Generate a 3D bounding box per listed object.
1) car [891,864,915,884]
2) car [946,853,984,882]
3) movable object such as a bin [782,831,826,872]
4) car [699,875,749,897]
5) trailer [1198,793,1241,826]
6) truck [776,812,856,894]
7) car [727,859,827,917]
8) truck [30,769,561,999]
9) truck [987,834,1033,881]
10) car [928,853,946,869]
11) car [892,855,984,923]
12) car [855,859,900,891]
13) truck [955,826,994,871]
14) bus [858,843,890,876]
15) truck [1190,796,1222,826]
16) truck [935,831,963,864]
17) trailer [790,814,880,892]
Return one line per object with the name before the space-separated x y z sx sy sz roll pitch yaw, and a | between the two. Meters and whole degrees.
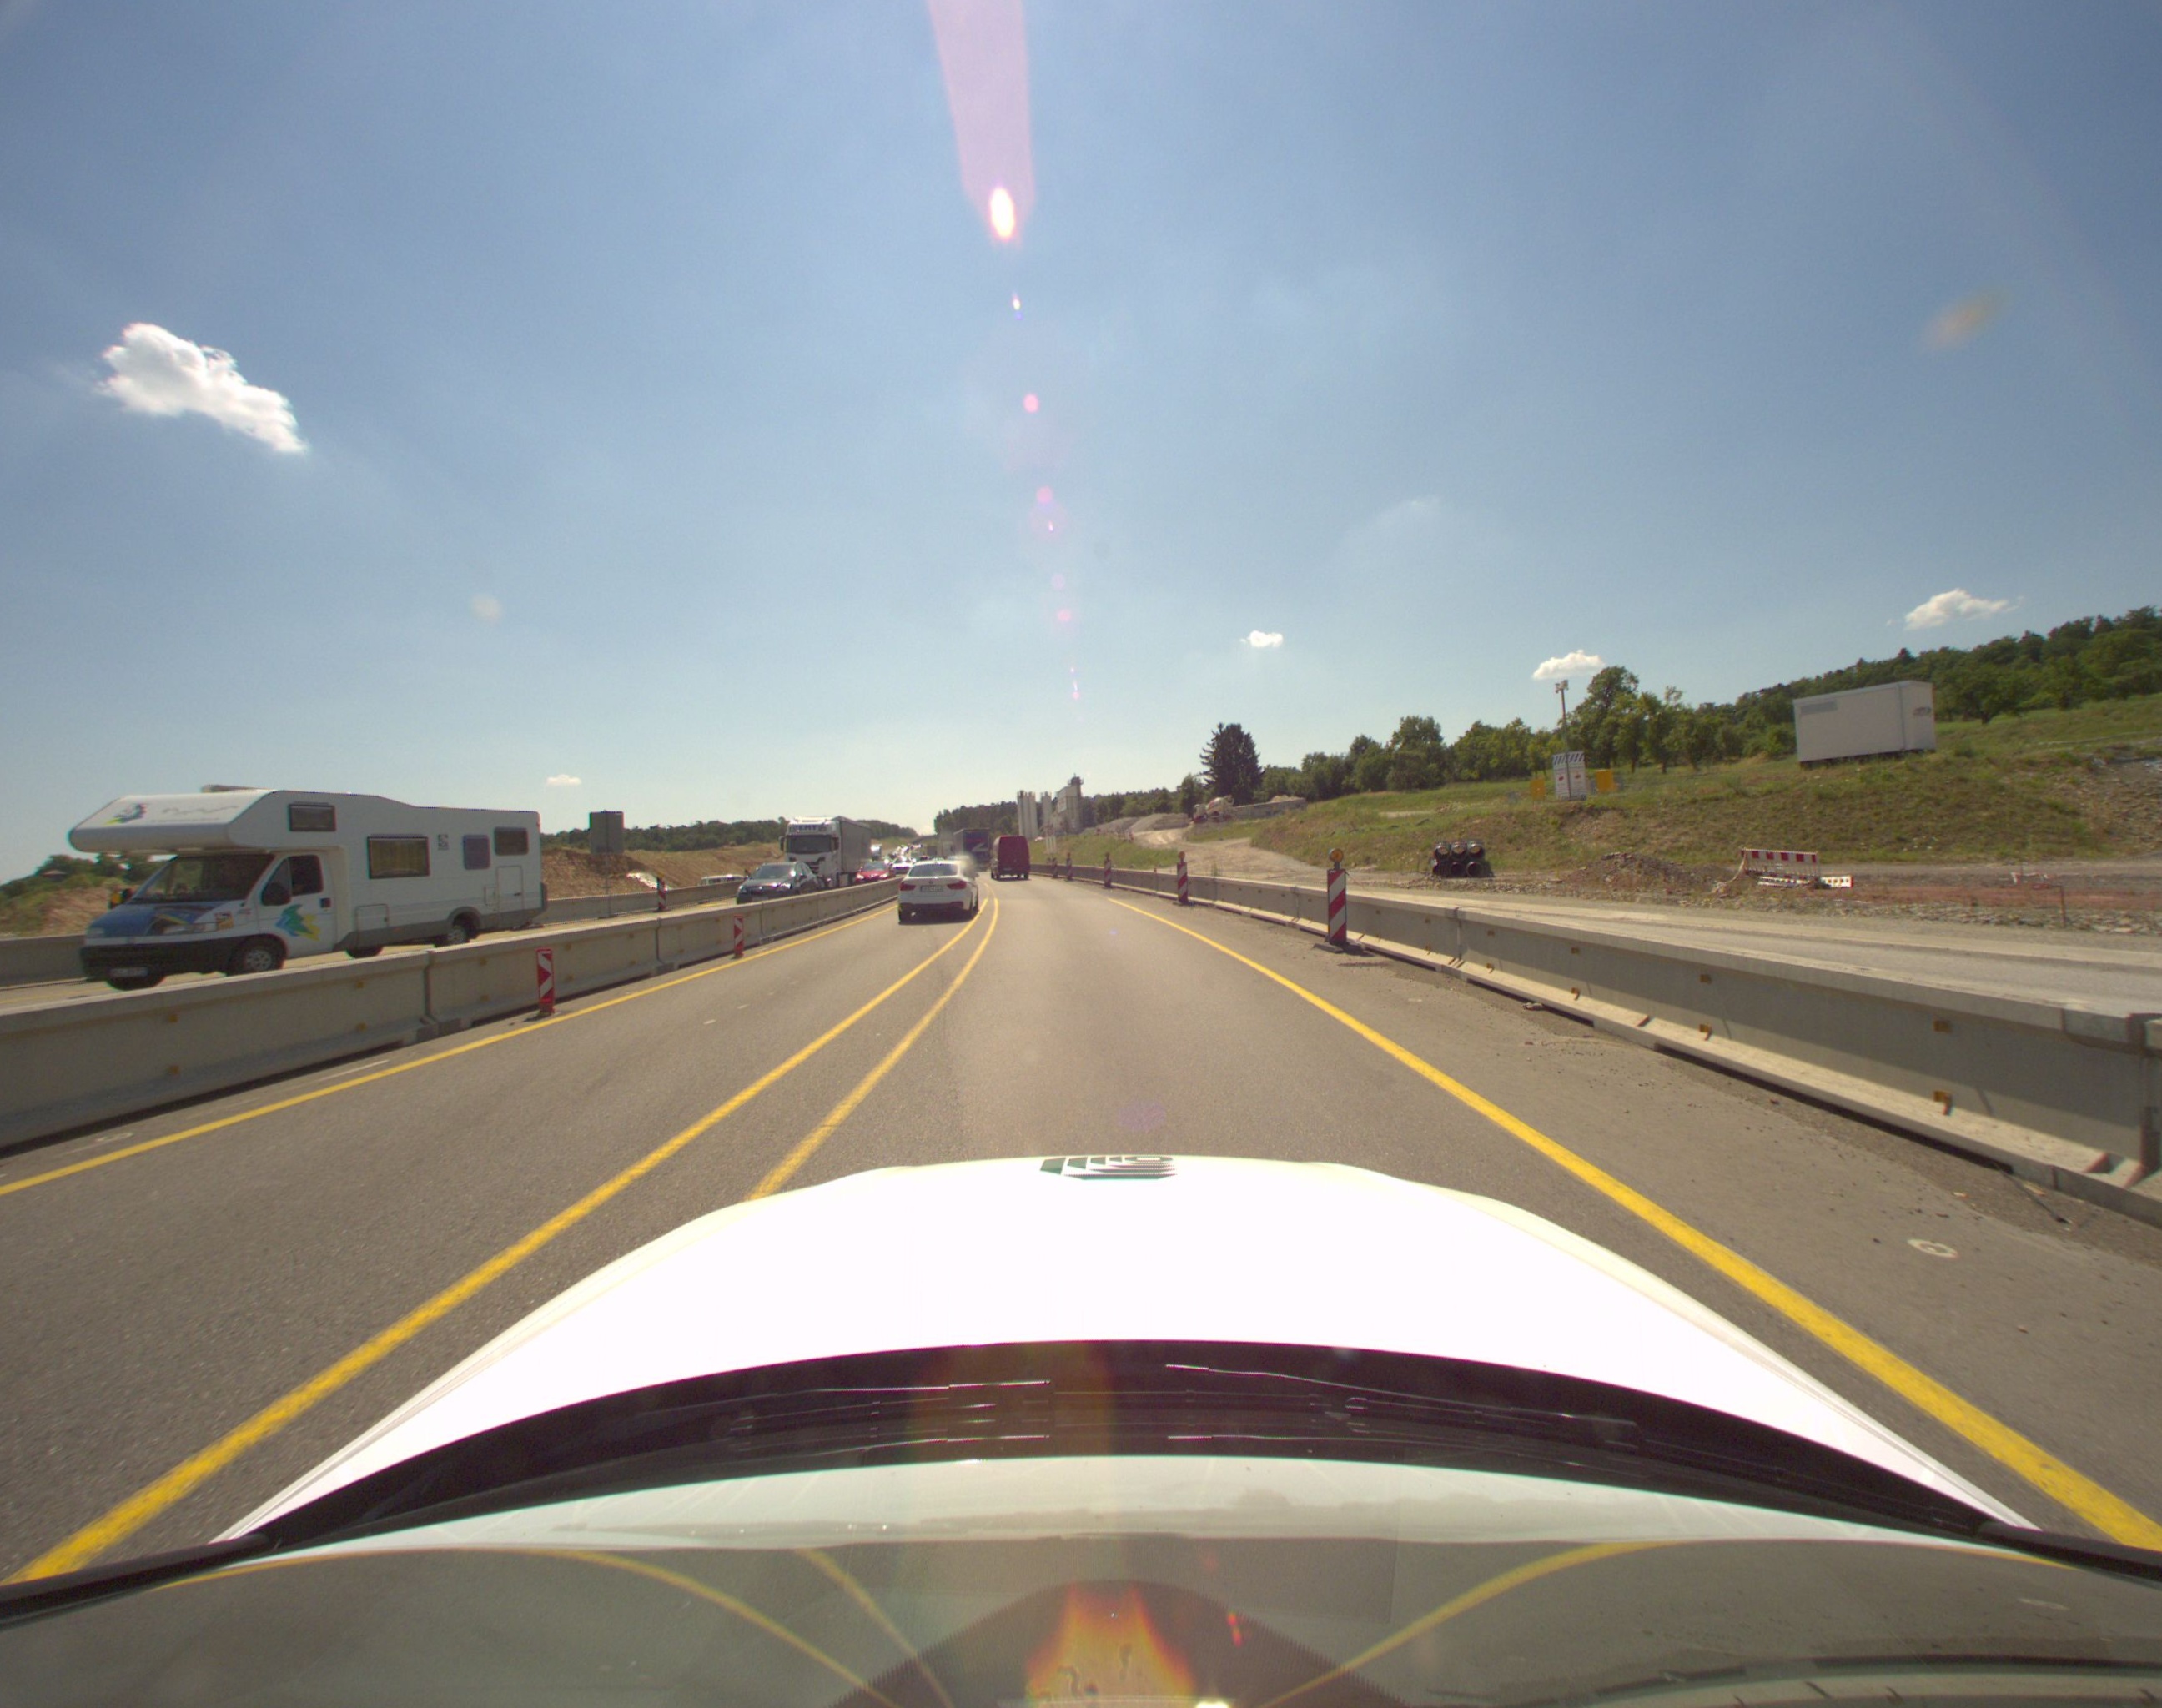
car | -15.340 1.700 70.305 1.797 1.475 4.758 -3 0 -11
car | -6.797 0.737 48.007 1.791 1.534 3.926 -3 0 -3
movable object such as a bin | -55.624 -0.501 163.763 7.642 7.713 3.432 -3 0 -12
car | -27.635 2.464 63.062 3.217 1.455 1.530 -3 0 -38
trailer | 19.668 -6.317 115.789 2.767 4.114 6.697 -3 0 -21
truck | -14.235 -0.069 44.204 2.697 4.061 5.492 -3 0 -5
car | -9.821 1.031 26.680 1.656 1.605 4.393 -3 0 -2
truck | -13.252 0.396 14.957 2.432 3.071 7.250 -3 0 1
truck | -4.510 0.189 50.940 2.113 2.633 6.460 -3 0 -11
car | -15.212 0.758 86.220 1.802 1.579 3.987 -3 0 -9
car | -3.691 0.842 21.899 1.791 1.534 5.067 -1 0 -3
car | -10.707 1.086 43.091 1.666 1.475 3.963 -3 0 -5
truck | -10.719 -0.497 81.485 3.018 4.152 8.237 -3 0 -12
bus | -20.985 0.520 82.872 2.349 3.125 7.205 -3 0 -9
truck | 18.257 -6.241 119.425 2.756 4.095 4.070 -3 0 -22
truck | -20.058 -0.963 124.303 3.681 4.691 9.726 -3 0 -8
trailer | -15.173 -0.078 51.597 2.757 4.114 13.946 -3 0 -6
